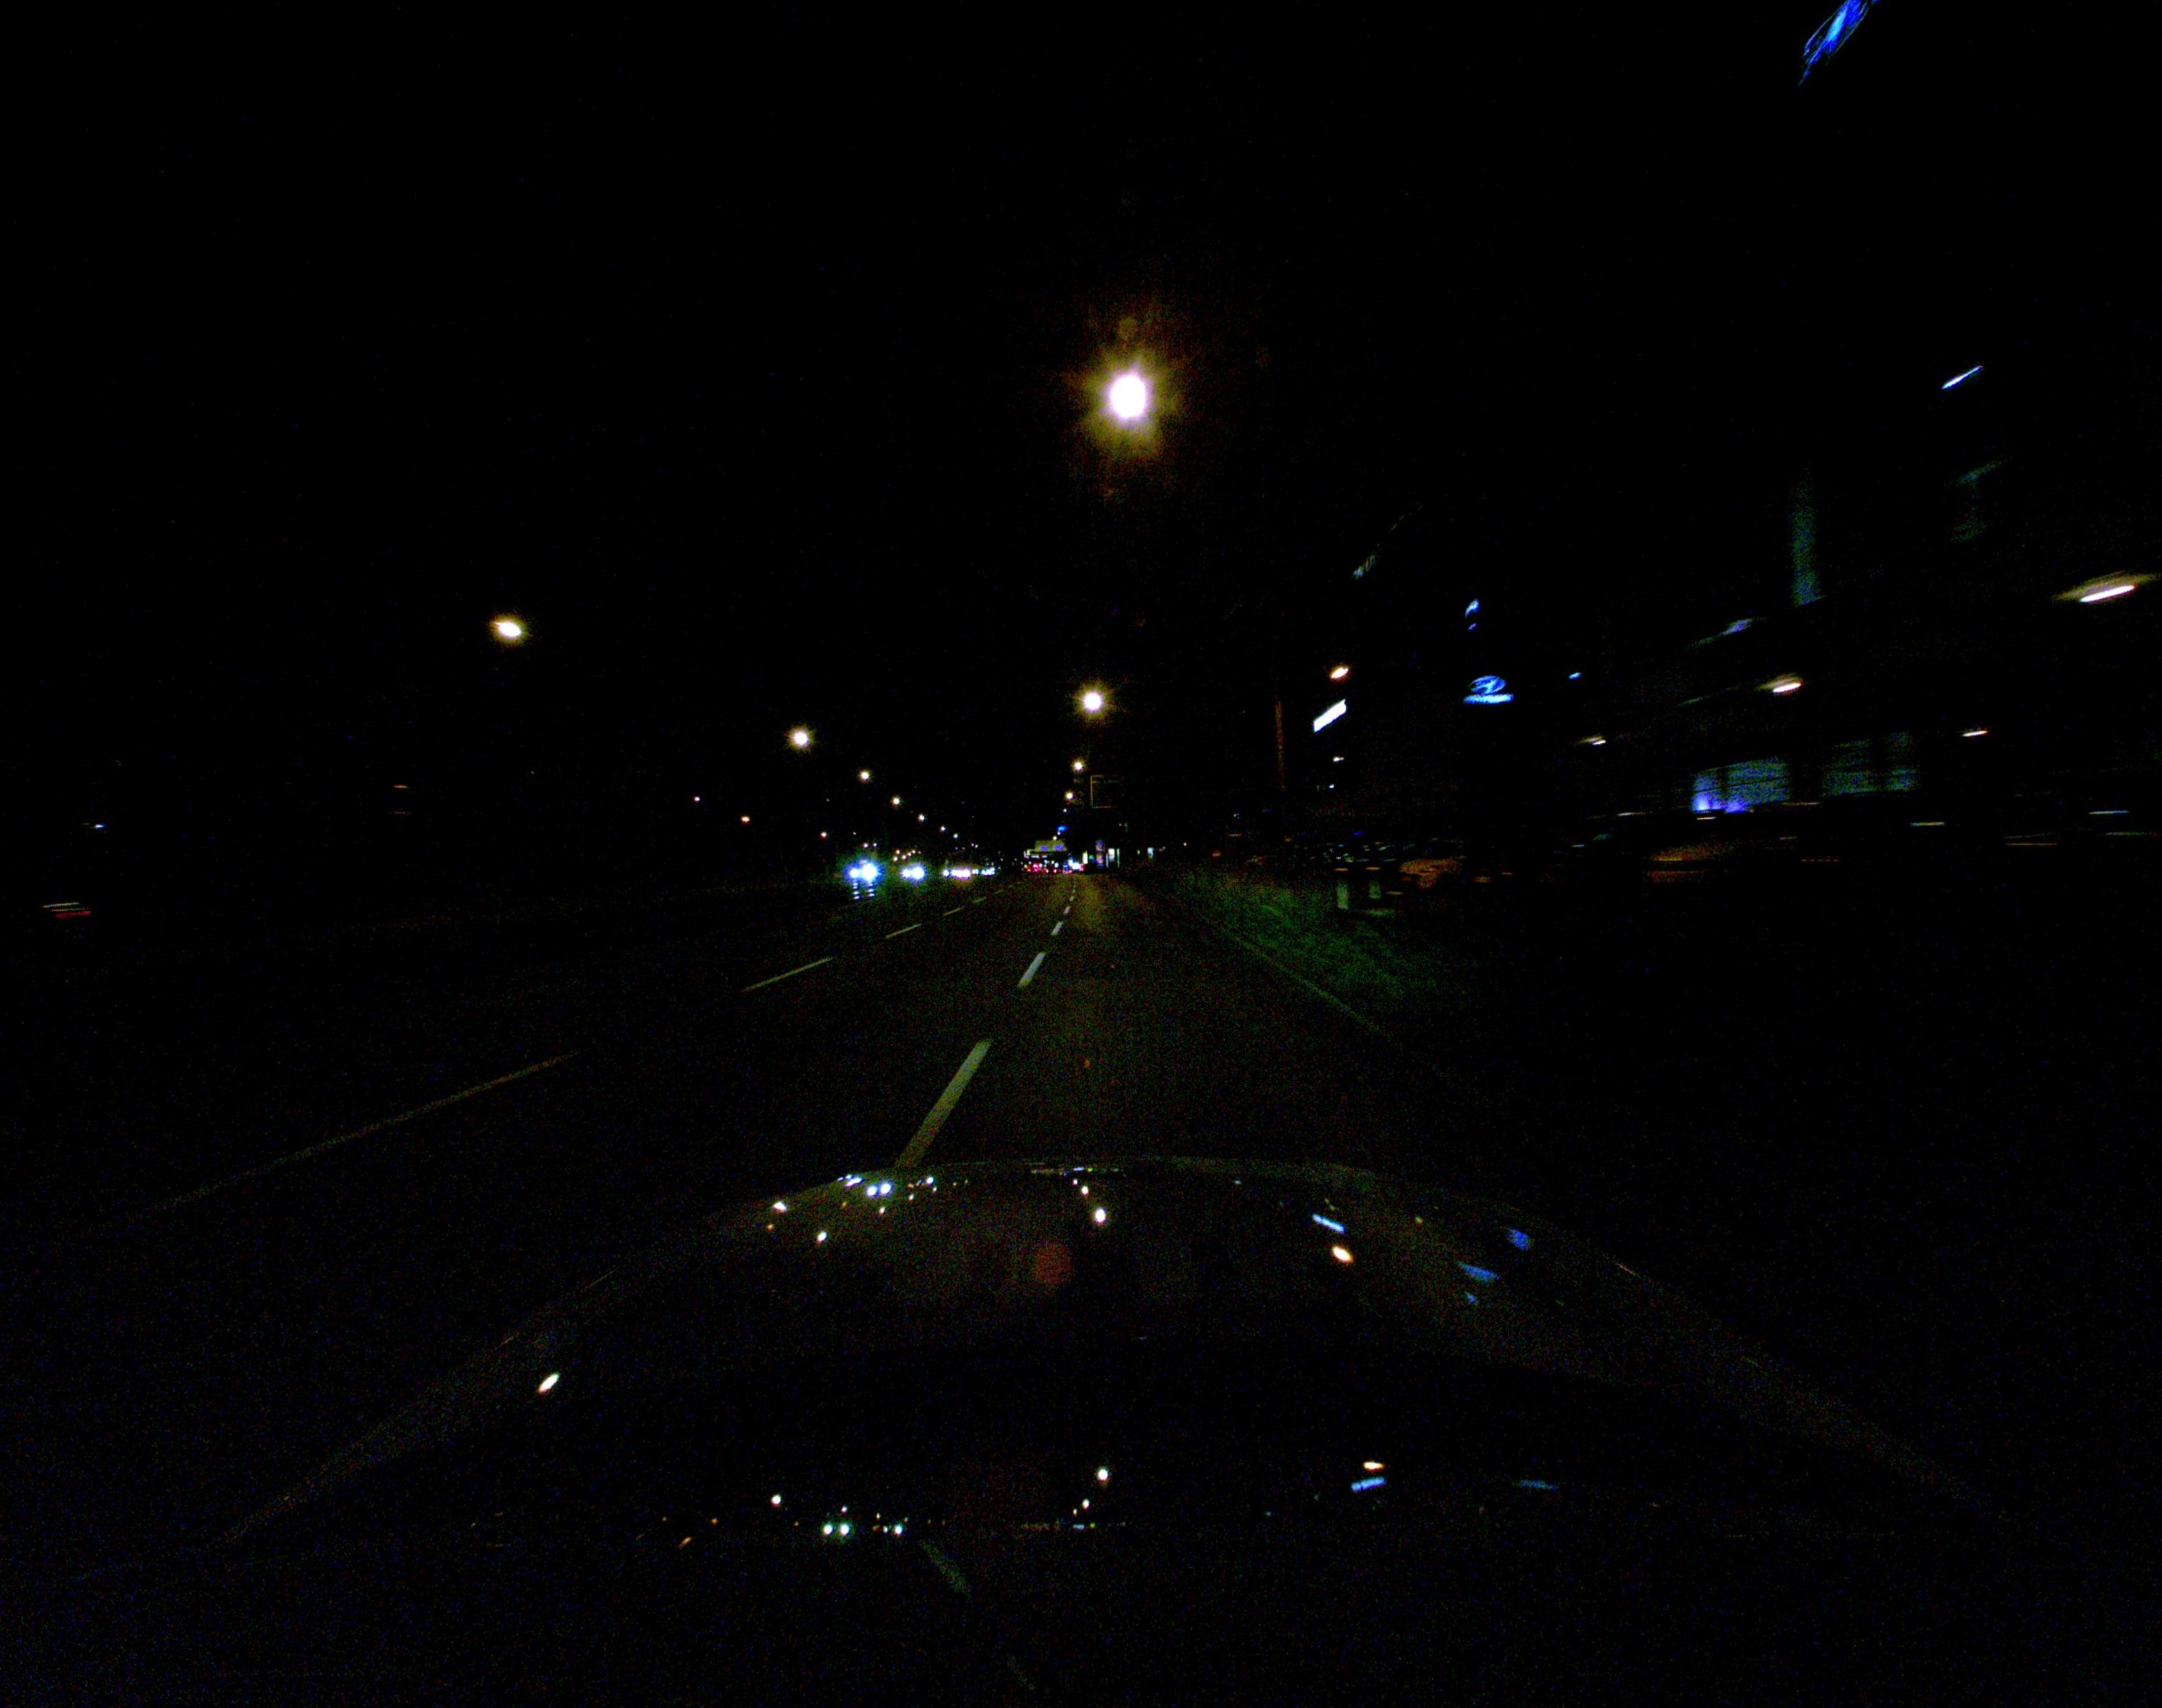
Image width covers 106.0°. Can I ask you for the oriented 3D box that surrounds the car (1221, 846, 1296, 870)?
[{"bbox_3d":[11.046,0.244,50.774,4.126,1.420,1.868,0,-1,-13],"label":"car"}]

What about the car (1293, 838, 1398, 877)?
[{"bbox_3d":[11.344,0.118,34.941,4.003,1.391,1.813,-3,1,-22],"label":"car"}]

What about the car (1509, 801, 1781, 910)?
[{"bbox_3d":[10.661,0.005,15.514,4.081,1.568,1.848,-6,1,-10],"label":"car"}]

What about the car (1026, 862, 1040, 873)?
[{"bbox_3d":[-8.696,2.446,148.366,2.255,2.014,4.826,-1,-1,0],"label":"car"}]

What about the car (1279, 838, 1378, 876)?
[{"bbox_3d":[11.445,0.142,37.684,3.999,1.470,1.821,-4,0,-19],"label":"car"}]

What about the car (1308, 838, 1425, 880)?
[{"bbox_3d":[11.350,0.184,32.456,3.988,1.381,1.802,-4,0,-10],"label":"car"}]

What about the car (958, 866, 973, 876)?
[{"bbox_3d":[-18.249,2.729,128.590,1.615,1.440,4.337,-3,-1,0],"label":"car"}]

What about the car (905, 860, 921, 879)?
[{"bbox_3d":[-25.957,2.464,126.147,2.147,2.671,6.933,-4,-1,-12],"label":"car"}]

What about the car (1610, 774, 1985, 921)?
[{"bbox_3d":[11.048,-0.128,12.712,4.461,1.687,1.993,-6,1,-10],"label":"car"}]

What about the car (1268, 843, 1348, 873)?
[{"bbox_3d":[11.263,0.207,40.410,3.617,1.433,1.667,-1,-1,-23],"label":"car"}]

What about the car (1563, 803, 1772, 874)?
[{"bbox_3d":[17.549,-0.387,24.616,1.843,1.918,4.774,0,-1,-36],"label":"car"}]

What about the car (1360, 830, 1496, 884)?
[{"bbox_3d":[11.373,0.096,26.783,3.772,1.378,1.709,-6,0,-13],"label":"car"}]

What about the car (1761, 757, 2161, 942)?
[{"bbox_3d":[11.192,-0.124,9.942,4.461,1.810,1.993,-4,0,-10],"label":"car"}]

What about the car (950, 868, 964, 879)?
[{"bbox_3d":[-20.983,3.295,137.699,1.990,1.594,3.994,-3,0,-4],"label":"car"}]

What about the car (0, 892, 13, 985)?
[{"bbox_3d":[-18.415,1.342,11.236,1.779,1.497,4.174,-1,-1,0],"label":"car"}]

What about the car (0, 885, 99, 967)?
[{"bbox_3d":[-21.267,1.386,14.951,1.653,1.516,3.913,-1,-1,2],"label":"car"}]

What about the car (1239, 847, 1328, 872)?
[{"bbox_3d":[11.387,0.278,45.762,4.651,1.264,1.932,-2,1,-24],"label":"car"}]

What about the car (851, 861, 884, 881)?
[{"bbox_3d":[-19.474,1.528,74.449,1.773,1.713,4.227,-1,-1,1],"label":"car"}]

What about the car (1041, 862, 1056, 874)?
[{"bbox_3d":[-5.794,2.468,144.742,2.348,2.129,4.826,-1,-1,0],"label":"car"}]

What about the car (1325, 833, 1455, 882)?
[{"bbox_3d":[11.134,0.130,29.372,4.031,1.373,1.816,-5,0,-16],"label":"car"}]

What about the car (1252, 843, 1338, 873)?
[{"bbox_3d":[11.274,0.197,43.041,3.997,1.424,1.898,-1,1,-17],"label":"car"}]

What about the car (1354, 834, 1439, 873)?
[{"bbox_3d":[16.813,0.017,43.543,1.597,1.796,3.824,0,-4,-40],"label":"car"}]

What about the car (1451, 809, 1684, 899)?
[{"bbox_3d":[11.217,0.000,18.892,4.460,1.547,1.764,-6,-1,-9],"label":"car"}]

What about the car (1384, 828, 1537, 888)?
[{"bbox_3d":[11.218,0.104,24.138,3.806,1.453,1.710,-4,0,-13],"label":"car"}]

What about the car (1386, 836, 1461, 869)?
[{"bbox_3d":[16.367,-0.046,38.996,1.328,1.486,3.037,-1,0,-40],"label":"car"}]

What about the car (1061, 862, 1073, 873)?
[{"bbox_3d":[-2.840,2.800,167.495,2.419,2.113,4.826,-1,-1,0],"label":"car"}]

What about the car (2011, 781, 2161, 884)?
[{"bbox_3d":[16.070,-0.354,11.645,1.646,1.422,3.464,-2,-1,-36],"label":"car"}]
